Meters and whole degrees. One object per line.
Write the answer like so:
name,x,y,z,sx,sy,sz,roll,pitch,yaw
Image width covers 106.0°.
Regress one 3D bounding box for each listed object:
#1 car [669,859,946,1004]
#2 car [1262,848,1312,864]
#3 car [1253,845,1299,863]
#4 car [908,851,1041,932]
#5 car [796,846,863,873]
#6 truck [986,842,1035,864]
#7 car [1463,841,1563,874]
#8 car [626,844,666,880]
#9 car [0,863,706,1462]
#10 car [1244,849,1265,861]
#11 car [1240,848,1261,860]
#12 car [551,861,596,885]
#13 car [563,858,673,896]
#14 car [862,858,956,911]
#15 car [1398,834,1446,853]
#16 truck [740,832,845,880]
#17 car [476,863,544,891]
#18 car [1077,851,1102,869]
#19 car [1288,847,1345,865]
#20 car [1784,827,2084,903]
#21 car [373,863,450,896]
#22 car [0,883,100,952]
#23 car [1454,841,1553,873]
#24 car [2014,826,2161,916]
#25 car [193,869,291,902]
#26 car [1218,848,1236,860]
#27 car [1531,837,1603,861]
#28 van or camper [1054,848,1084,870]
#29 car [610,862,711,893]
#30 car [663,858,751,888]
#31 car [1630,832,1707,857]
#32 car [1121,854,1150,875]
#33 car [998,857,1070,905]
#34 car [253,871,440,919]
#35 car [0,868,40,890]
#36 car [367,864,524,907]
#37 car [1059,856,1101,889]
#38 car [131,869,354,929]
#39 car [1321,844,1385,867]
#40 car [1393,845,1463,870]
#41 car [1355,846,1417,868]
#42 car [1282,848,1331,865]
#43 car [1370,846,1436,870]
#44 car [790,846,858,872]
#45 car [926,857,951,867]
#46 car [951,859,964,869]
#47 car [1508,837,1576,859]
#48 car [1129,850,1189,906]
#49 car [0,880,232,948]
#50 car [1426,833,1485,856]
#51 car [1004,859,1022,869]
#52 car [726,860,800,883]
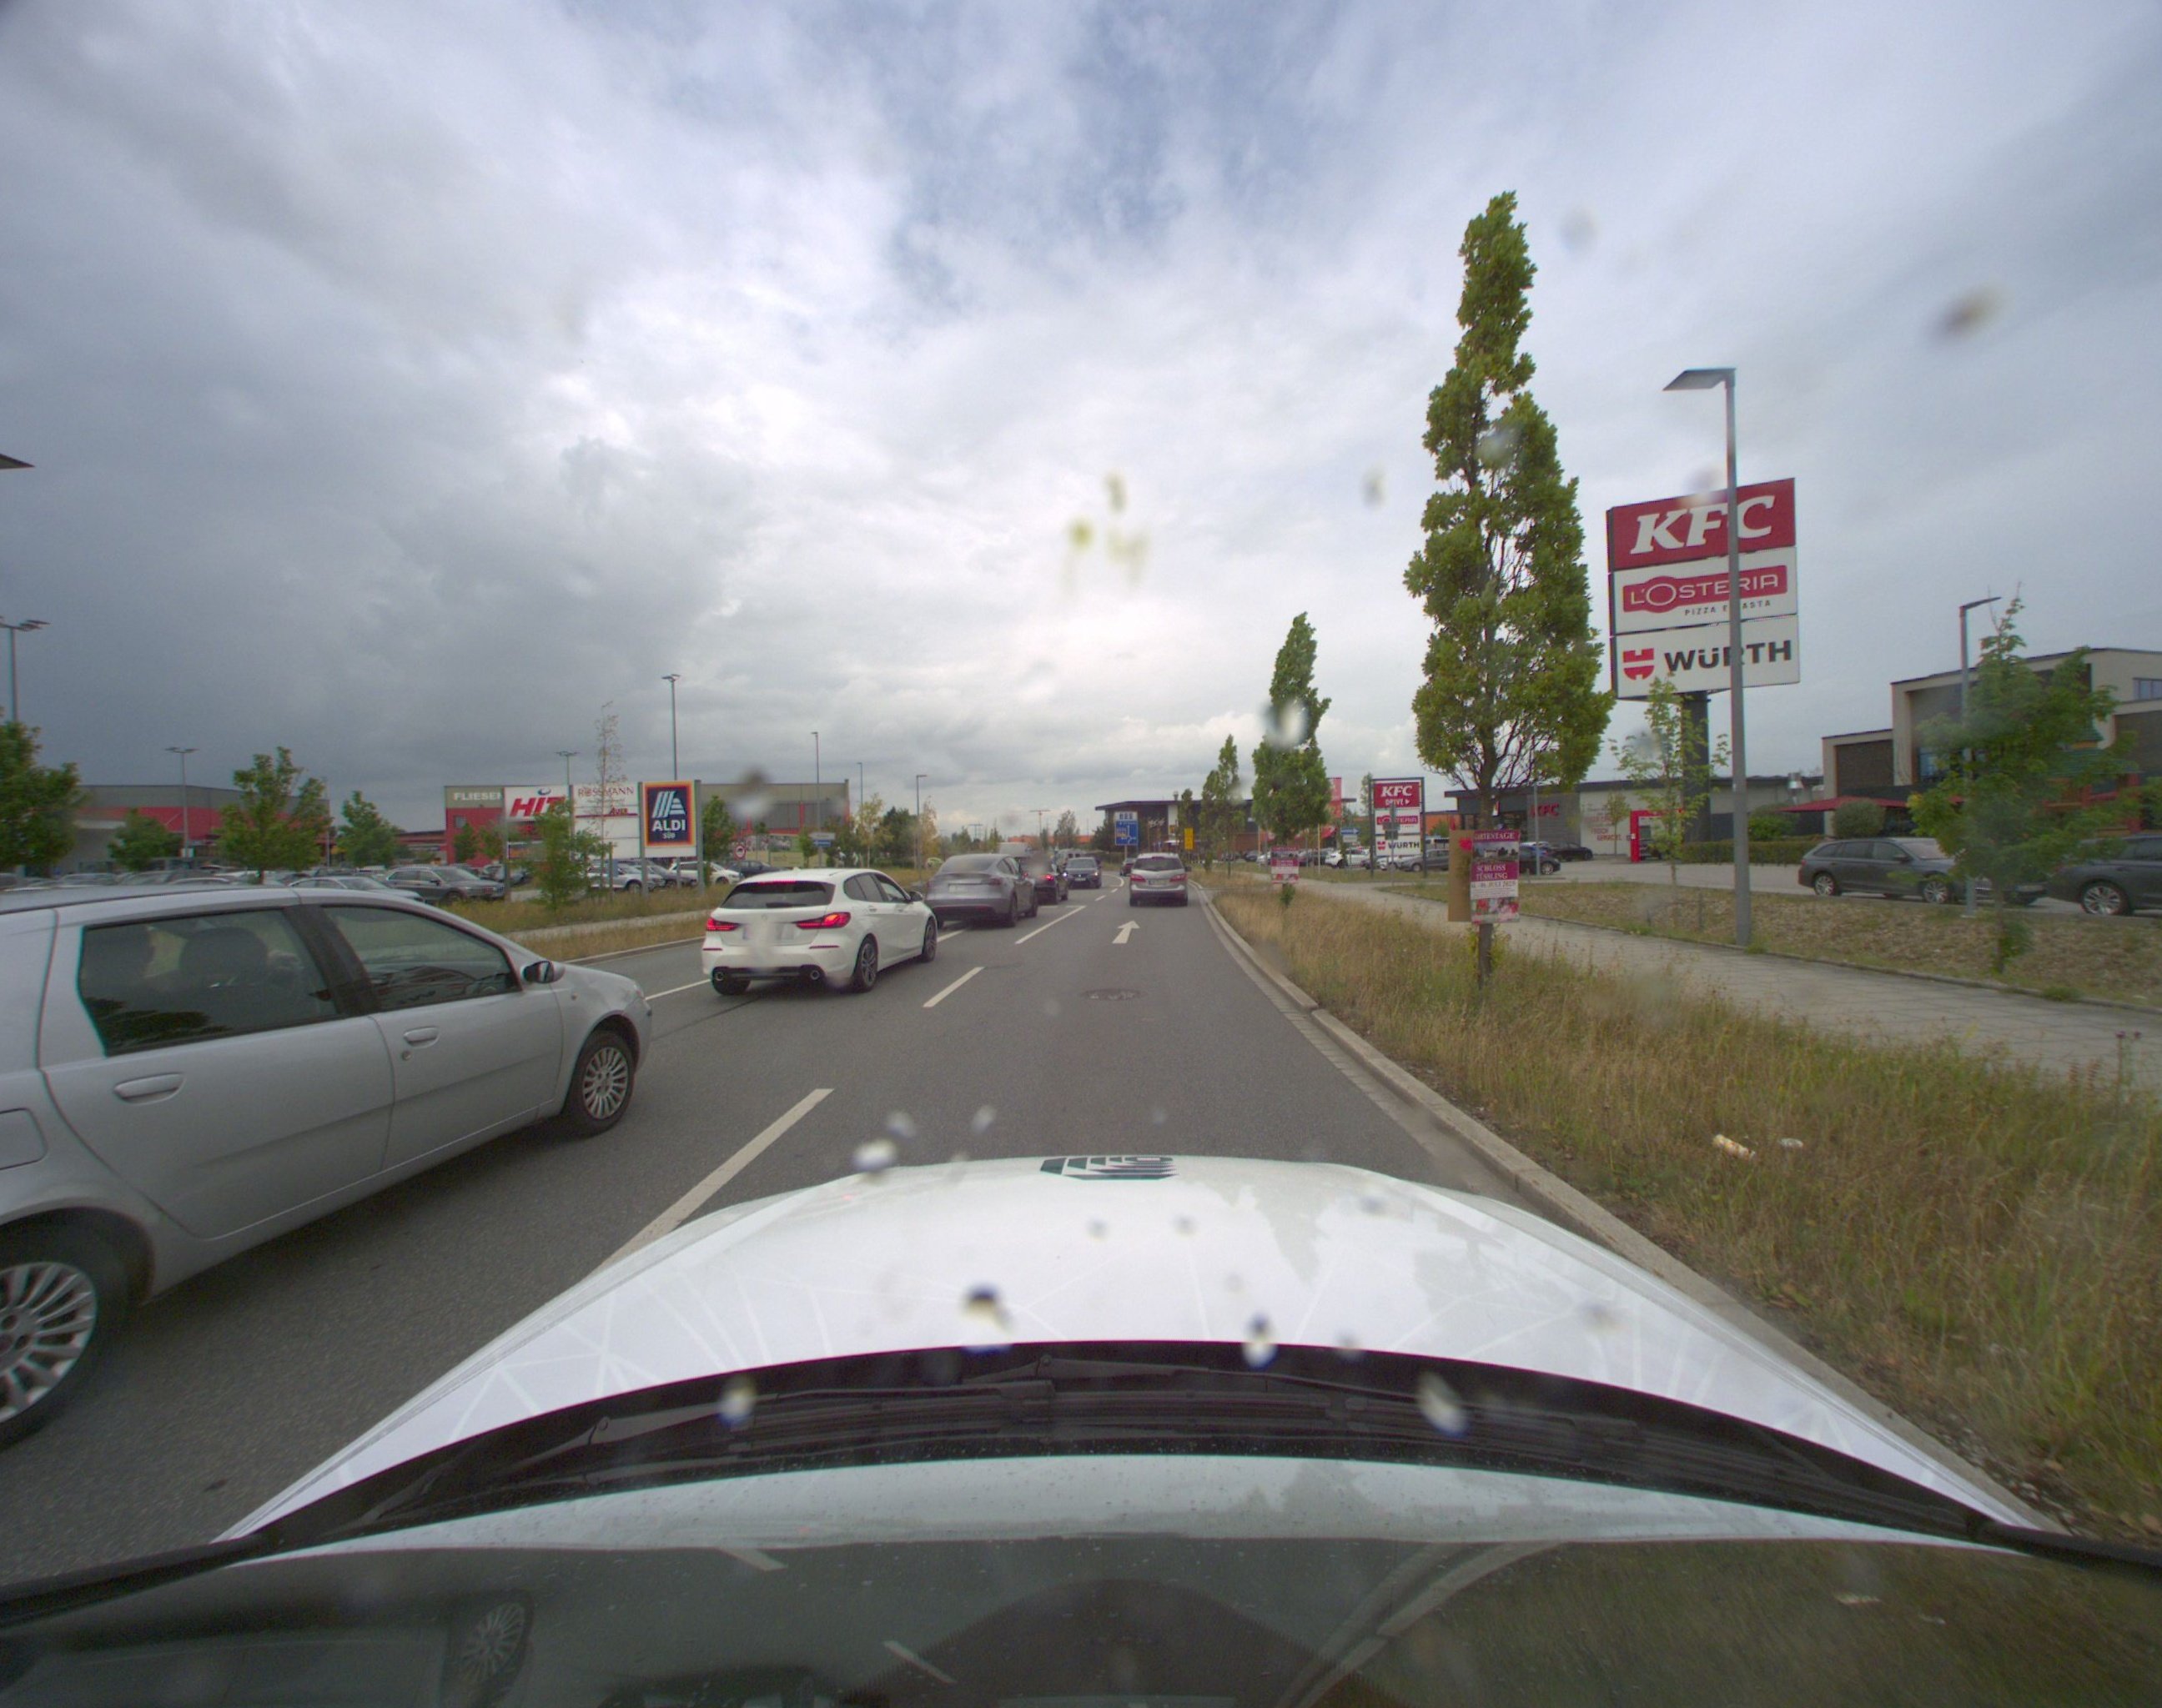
car,-3.228,0.831,10.635,1.871,1.468,4.198,-2,0,5
car,20.904,0.180,82.649,4.473,1.436,2.064,-2,0,-14
car,20.382,0.004,85.108,4.356,1.639,1.927,-2,0,-16
car,-2.270,0.764,18.805,1.983,1.561,4.620,-2,0,6
car,-25.673,0.528,83.434,6.417,2.598,2.233,-1,0,-14
truck,-12.851,-0.209,149.106,3.103,3.907,9.394,-2,0,41
car,21.565,0.184,40.759,3.966,1.494,1.985,-2,0,6
car,-34.593,0.614,64.945,2.066,2.690,5.110,-2,0,-21
car,-3.524,0.823,3.584,1.695,1.438,4.035,-2,0,2
car,20.563,0.120,96.383,1.795,1.313,3.870,-2,0,22
car,25.175,-0.023,120.842,2.097,1.717,4.254,-1,0,23
car,-39.561,1.422,63.560,1.999,1.729,3.977,-2,0,-17
car,-22.897,1.100,40.382,4.228,1.723,2.028,-1,0,0
car,-6.145,1.032,29.781,1.984,1.637,4.709,-3,0,5
car,48.860,-1.482,116.572,5.969,2.528,2.296,-2,0,32
truck,-22.692,0.117,64.657,2.824,3.541,8.476,-1,0,23
car,-36.482,1.438,52.237,1.999,1.607,5.242,-2,0,-17
car,0.881,0.669,87.744,2.056,1.826,4.775,-1,0,-6
car,21.601,0.210,74.768,4.518,1.469,2.025,-2,0,-11
car,18.963,0.195,18.529,1.953,1.460,4.837,-2,0,4
car,-36.941,1.375,45.054,1.852,1.607,3.977,-2,0,-17
car,-24.881,1.433,18.062,4.063,1.391,2.004,-2,0,6
car,22.406,0.146,43.297,4.243,1.520,1.968,-2,0,4
car,18.459,0.259,12.889,1.856,1.437,4.882,-2,0,2
car,-45.430,1.662,44.212,1.999,1.607,3.977,-2,0,-17
car,21.387,0.033,119.176,1.977,1.717,4.020,-1,0,20
car,35.875,-0.377,60.137,4.572,1.519,1.966,-3,0,-17
van or camper,-1.457,0.552,97.350,2.308,2.506,5.176,-1,0,-16
car,-22.151,1.210,43.017,4.222,1.513,2.049,-1,0,5
car,-22.103,1.113,48.313,4.239,1.559,1.986,-2,0,-5
car,40.408,-0.628,56.053,4.572,1.519,1.886,-3,0,-17
car,4.093,0.759,61.516,1.839,1.418,4.224,-2,0,0
car,-1.459,0.838,26.884,1.761,1.438,4.236,-2,-1,4
car,-24.047,1.323,26.799,4.297,1.340,2.028,-2,0,1
car,-83.355,1.954,62.462,3.986,1.607,1.994,-2,0,-10
car,-23.947,1.164,30.799,4.335,1.391,2.169,-2,0,6
car,-0.003,0.813,38.516,1.823,1.420,4.247,-1,0,2
car,-24.443,1.277,23.866,4.344,1.505,2.243,-2,0,5
car,22.612,0.102,67.807,4.555,1.645,2.084,-3,0,-6
car,22.566,0.244,53.091,3.744,1.494,1.890,-2,0,1
car,23.478,0.234,62.812,3.976,1.485,1.939,-2,-1,-2
car,21.532,0.221,77.745,4.087,1.438,1.935,-2,0,-12
car,22.863,0.277,57.901,3.849,1.481,1.902,-3,0,0
car,-24.720,0.448,78.518,6.079,2.307,2.199,-1,0,-15
car,-24.560,1.386,140.774,3.976,1.515,1.999,-2,0,-1
car,-22.687,1.791,149.362,1.803,1.669,4.302,-4,0,-17
car,37.005,-0.472,65.427,4.569,1.519,2.070,-3,0,-15
car,2.472,0.696,25.551,1.721,1.600,3.813,0,0,6
car,-24.571,1.485,20.530,4.300,1.456,2.013,-2,0,3
car,42.299,-1.084,92.052,5.678,2.351,2.525,-2,0,-12
car,-10.702,1.539,127.576,1.999,1.515,3.976,-2,0,-18
car,-21.794,1.199,55.903,4.220,1.435,1.997,-2,0,-2
